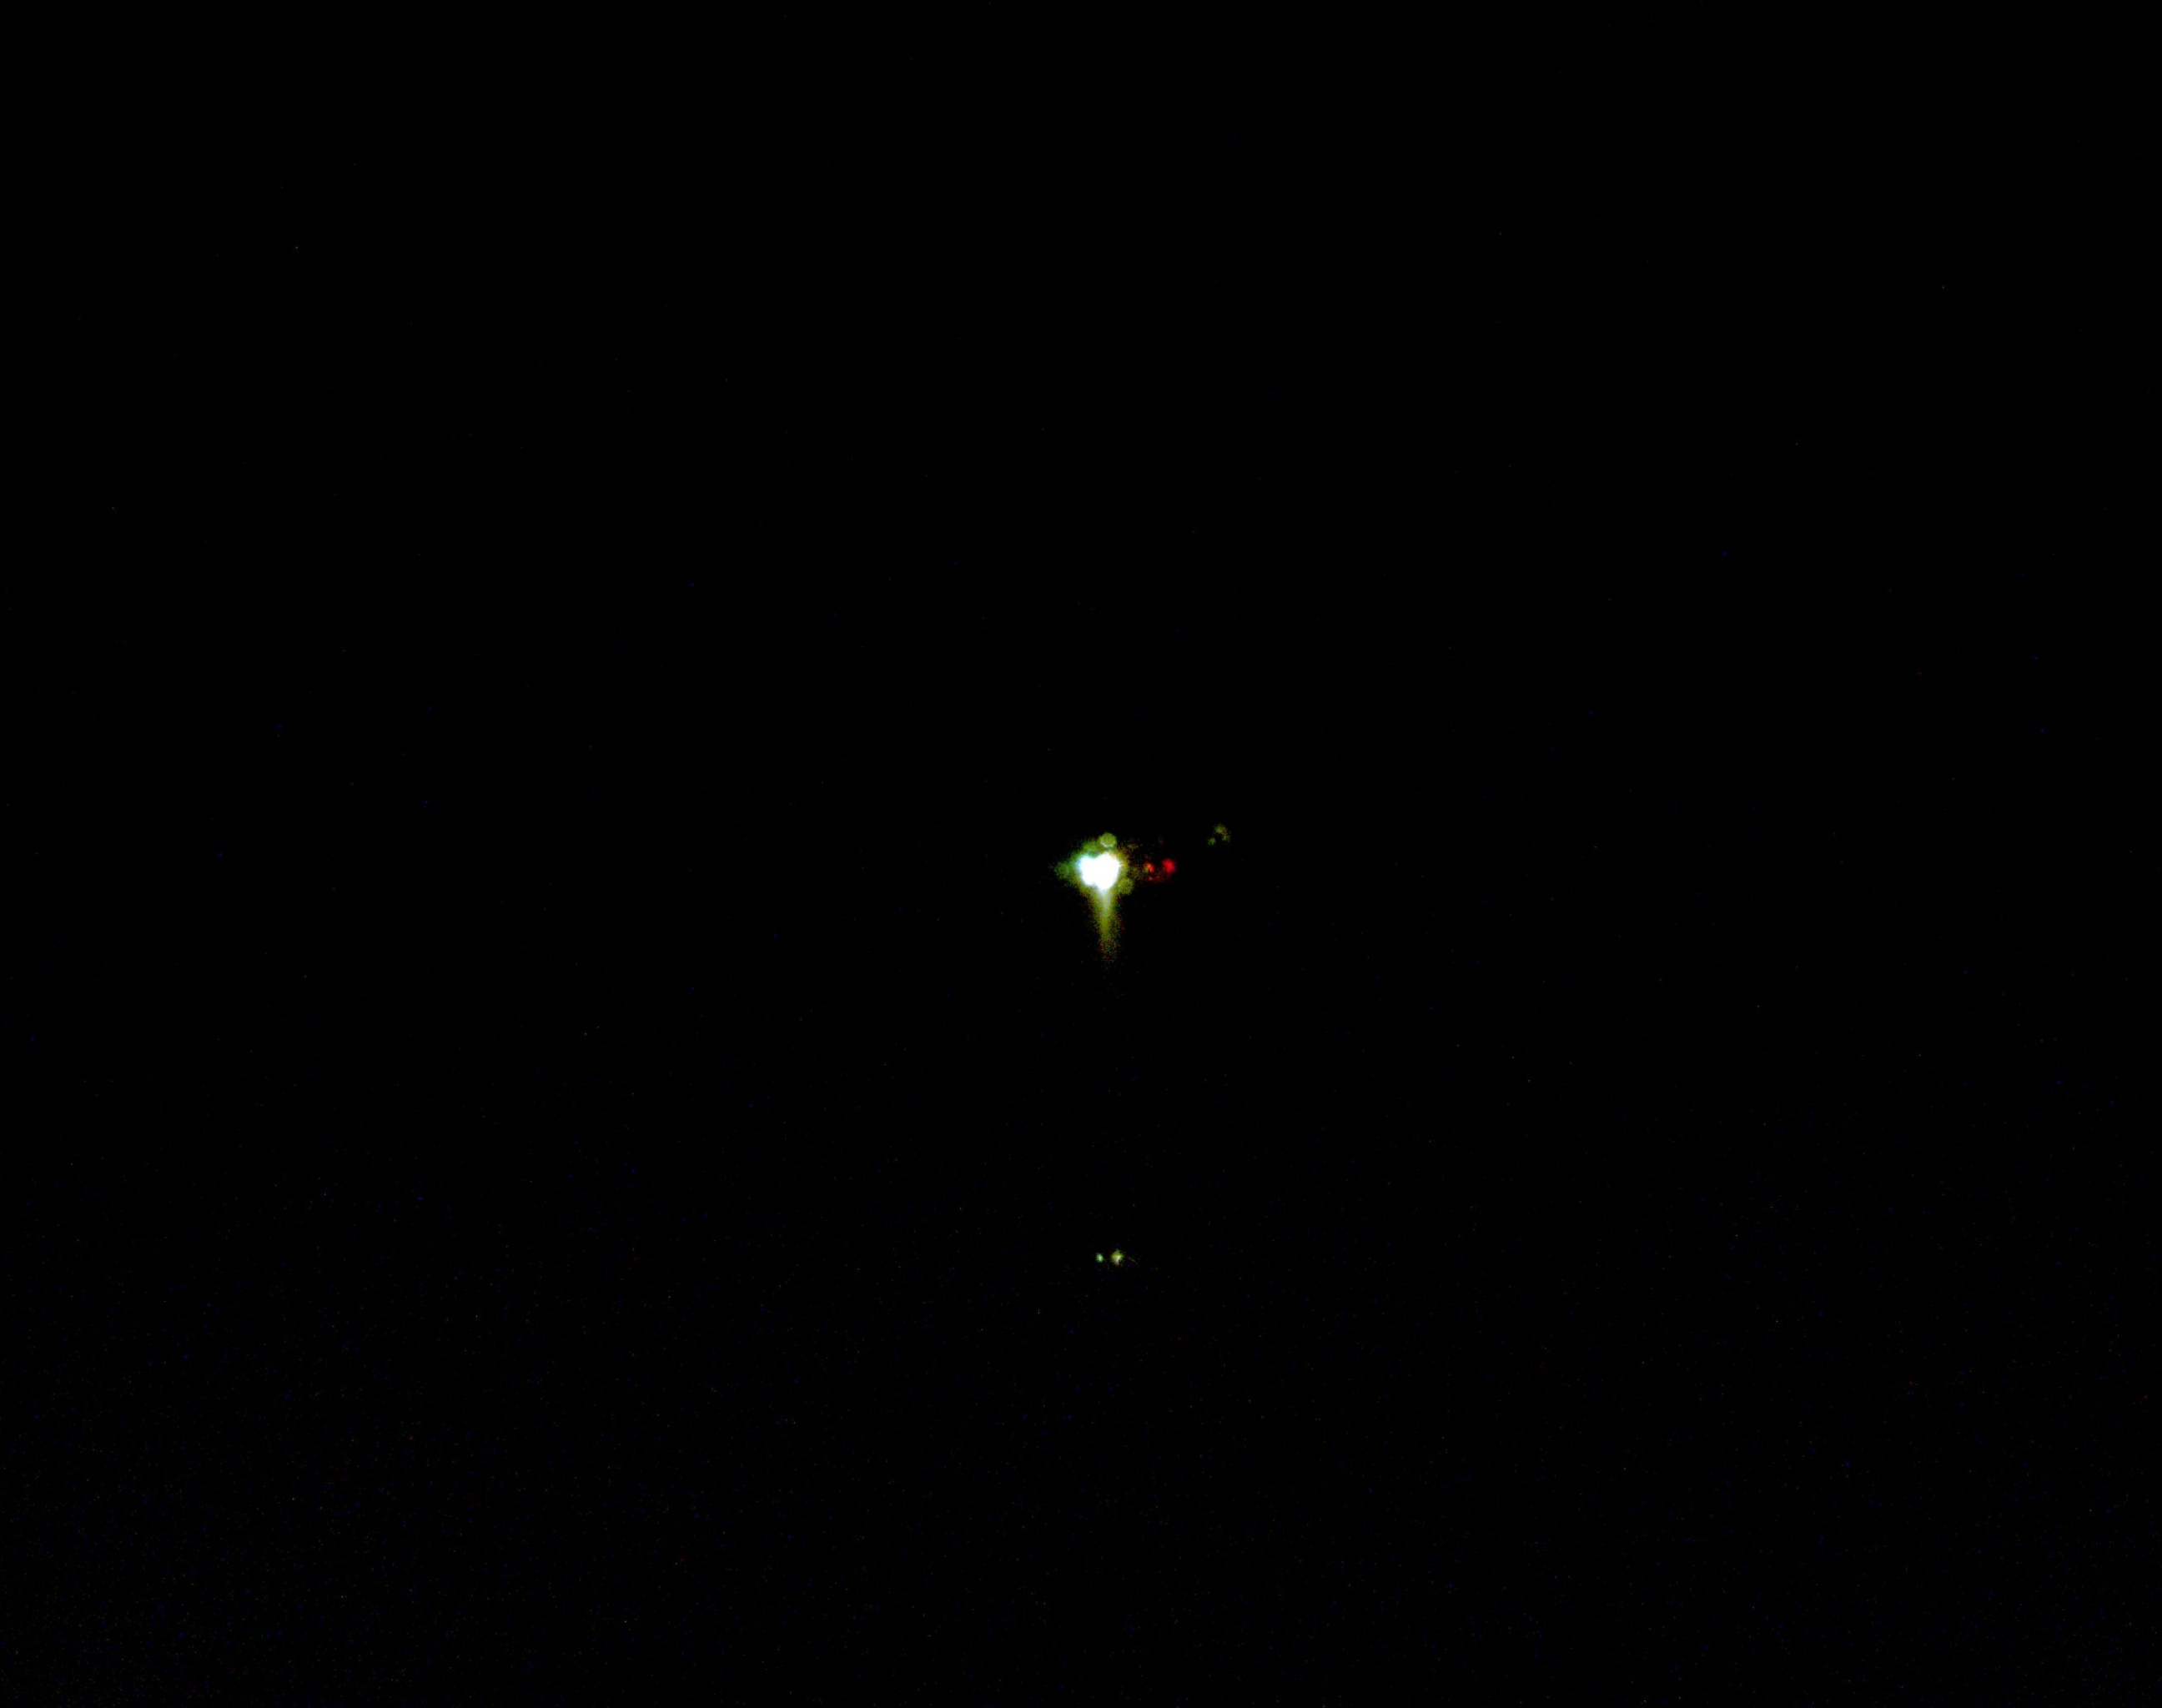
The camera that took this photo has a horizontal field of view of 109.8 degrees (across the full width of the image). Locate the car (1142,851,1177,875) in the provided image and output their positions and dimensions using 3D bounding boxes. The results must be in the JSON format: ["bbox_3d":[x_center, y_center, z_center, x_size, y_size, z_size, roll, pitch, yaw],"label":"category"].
[{"bbox_3d":[5.611,0.621,54.551,1.998,1.567,4.661,-2,0,0],"label":"car"}]

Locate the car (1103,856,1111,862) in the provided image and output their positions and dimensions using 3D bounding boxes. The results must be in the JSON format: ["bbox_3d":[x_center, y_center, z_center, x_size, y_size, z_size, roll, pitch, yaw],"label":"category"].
[{"bbox_3d":[7.288,1.344,210.884,1.998,1.489,3.775,-2,0,5],"label":"car"}]

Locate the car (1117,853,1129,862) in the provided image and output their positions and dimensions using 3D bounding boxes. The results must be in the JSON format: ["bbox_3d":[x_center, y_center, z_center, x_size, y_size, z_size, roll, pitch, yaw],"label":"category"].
[{"bbox_3d":[7.528,0.599,134.959,1.812,1.612,4.002,-2,0,8],"label":"car"}]

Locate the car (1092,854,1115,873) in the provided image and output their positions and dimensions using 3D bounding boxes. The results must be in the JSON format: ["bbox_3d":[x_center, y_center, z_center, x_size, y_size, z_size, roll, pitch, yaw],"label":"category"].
[{"bbox_3d":[2.061,0.866,70.068,1.998,1.575,4.000,-3,0,1],"label":"car"}]

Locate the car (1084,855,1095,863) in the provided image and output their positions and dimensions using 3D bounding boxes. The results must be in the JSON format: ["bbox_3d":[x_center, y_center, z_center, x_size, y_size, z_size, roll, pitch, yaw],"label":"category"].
[{"bbox_3d":[1.607,0.942,145.684,1.998,1.575,4.000,-3,0,1],"label":"car"}]
